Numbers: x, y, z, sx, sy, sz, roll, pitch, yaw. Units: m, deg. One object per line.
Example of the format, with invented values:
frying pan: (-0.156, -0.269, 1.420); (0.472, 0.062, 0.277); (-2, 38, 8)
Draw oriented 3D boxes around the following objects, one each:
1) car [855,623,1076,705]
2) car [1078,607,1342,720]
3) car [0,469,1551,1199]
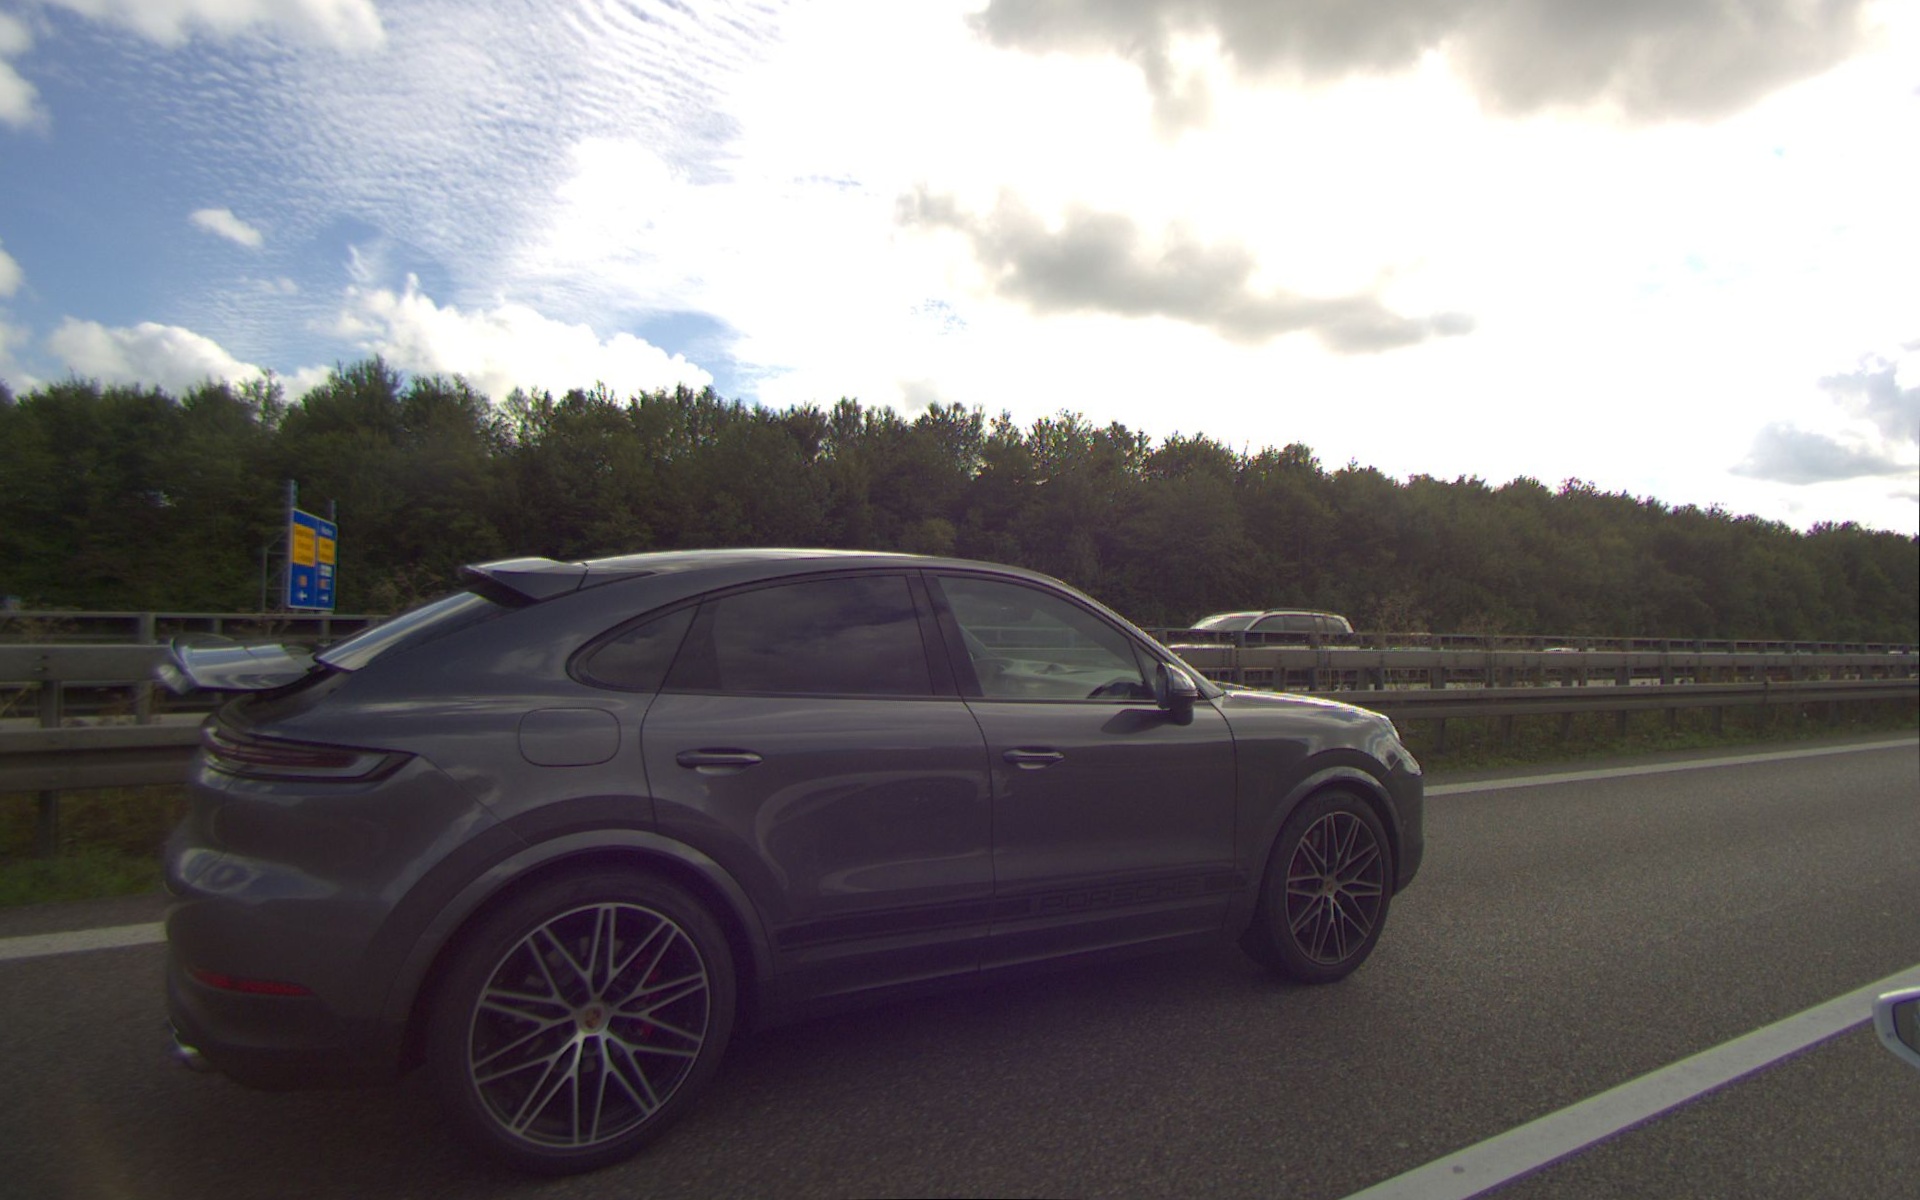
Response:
car: (0.143, 1.121, 18.239); (3.782, 1.364, 1.534); (2, -2, -32)
car: (4.040, 0.966, 16.037); (4.125, 1.598, 1.667); (2, -2, -31)
car: (-0.019, 0.650, 4.184); (5.437, 1.658, 1.903); (2, -1, -31)
